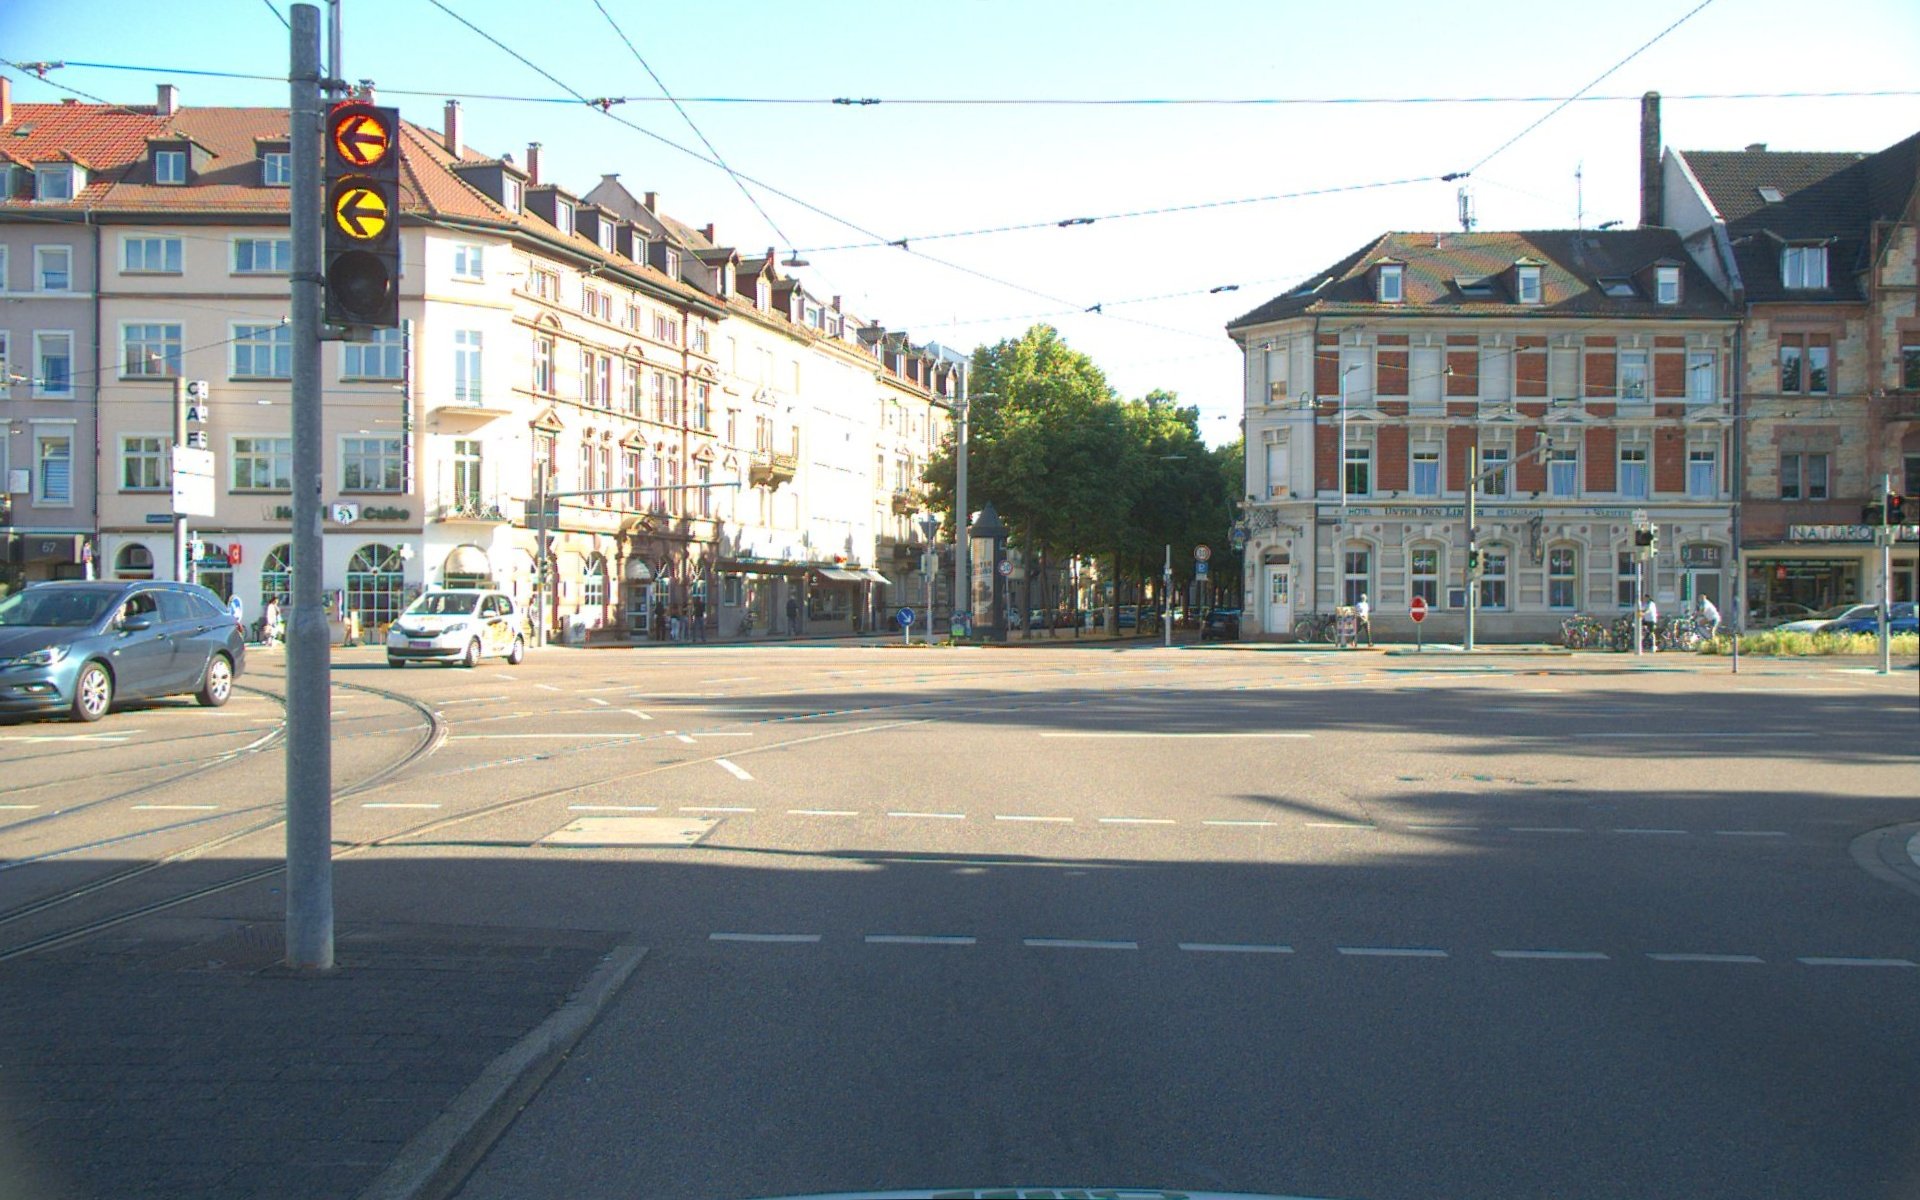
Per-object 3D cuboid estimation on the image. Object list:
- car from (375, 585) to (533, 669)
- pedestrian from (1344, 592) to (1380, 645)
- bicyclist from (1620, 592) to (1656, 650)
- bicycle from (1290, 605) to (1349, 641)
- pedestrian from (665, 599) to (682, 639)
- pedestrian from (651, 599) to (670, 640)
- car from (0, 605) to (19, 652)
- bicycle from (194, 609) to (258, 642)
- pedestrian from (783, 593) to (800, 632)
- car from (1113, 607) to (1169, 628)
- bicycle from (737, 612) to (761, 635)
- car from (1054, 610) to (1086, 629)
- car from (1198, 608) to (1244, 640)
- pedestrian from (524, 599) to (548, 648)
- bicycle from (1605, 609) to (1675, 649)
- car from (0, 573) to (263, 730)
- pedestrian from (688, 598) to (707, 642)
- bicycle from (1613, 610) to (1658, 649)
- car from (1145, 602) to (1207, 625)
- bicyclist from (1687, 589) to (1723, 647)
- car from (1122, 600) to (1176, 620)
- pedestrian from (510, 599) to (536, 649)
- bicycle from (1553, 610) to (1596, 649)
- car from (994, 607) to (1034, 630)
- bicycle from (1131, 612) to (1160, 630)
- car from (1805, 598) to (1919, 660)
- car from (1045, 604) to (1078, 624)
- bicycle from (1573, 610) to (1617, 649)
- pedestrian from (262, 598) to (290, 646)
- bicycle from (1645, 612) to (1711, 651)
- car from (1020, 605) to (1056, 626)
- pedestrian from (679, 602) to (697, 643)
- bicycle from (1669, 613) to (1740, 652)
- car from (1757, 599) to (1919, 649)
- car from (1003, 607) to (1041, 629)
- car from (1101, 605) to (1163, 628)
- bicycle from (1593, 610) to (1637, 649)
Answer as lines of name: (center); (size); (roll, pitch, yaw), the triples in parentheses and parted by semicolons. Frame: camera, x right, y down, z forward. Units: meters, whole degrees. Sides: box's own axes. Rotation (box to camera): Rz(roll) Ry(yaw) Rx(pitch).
car: (-9.675, 0.486, 31.865); (1.681, 1.523, 3.586); (0, 0, 5)
pedestrian: (13.083, 0.589, 53.860); (0.707, 1.699, 0.931); (0, 0, -26)
bicyclist: (21.003, 0.655, 51.237); (0.854, 1.795, 0.602); (0, 0, 2)
bicycle: (12.462, 0.798, 57.350); (1.919, 1.211, 0.546); (0, 0, 4)
pedestrian: (-11.896, 0.796, 68.749); (0.539, 1.670, 0.538); (0, 0, 12)
pedestrian: (-12.468, 0.810, 68.838); (0.613, 1.670, 0.538); (0, 0, 12)
car: (-32.475, 0.900, 52.140); (4.547, 1.465, 1.743); (0, -1, -4)
bicycle: (-24.889, 0.862, 56.105); (1.906, 1.086, 0.582); (0, 0, -8)
pedestrian: (-8.381, 0.604, 82.394); (0.667, 1.942, 0.633); (0, 0, 15)
car: (14.070, 1.326, 128.495); (3.910, 1.572, 1.998); (0, 0, 28)
bicycle: (-10.130, 1.122, 79.376); (0.484, 1.086, 1.771); (0, 0, 15)
car: (9.114, 1.617, 136.642); (1.951, 1.523, 4.037); (0, 0, 13)
car: (13.076, 1.162, 82.592); (1.951, 1.523, 4.037); (0, 0, 13)
pedestrian: (-14.594, 0.793, 56.977); (0.617, 1.670, 0.553); (0, 0, 13)
bicycle: (21.065, 0.898, 51.235); (1.920, 1.211, 0.602); (0, 0, 2)
car: (-9.670, 0.492, 18.356); (1.736, 1.523, 4.575); (0, 0, 3)
pedestrian: (-11.057, 0.833, 69.724); (0.567, 1.868, 0.633); (0, 0, 15)
bicycle: (21.825, 0.939, 53.495); (0.663, 1.211, 1.967); (0, 0, 0)
car: (15.239, 0.954, 116.681); (3.913, 1.572, 1.996); (0, 0, 30)
bicyclist: (23.380, 0.562, 51.919); (0.884, 1.795, 0.602); (0, 0, 7)
car: (15.417, 0.789, 134.678); (3.910, 1.572, 1.998); (0, 0, 28)
pedestrian: (-14.738, 0.819, 55.762); (0.661, 1.670, 0.579); (0, 0, 13)
bicycle: (19.836, 0.938, 53.446); (0.663, 1.211, 1.967); (0, 0, 0)
car: (3.705, 1.235, 112.906); (1.951, 1.523, 4.037); (0, 0, 13)
bicycle: (11.166, 1.269, 99.396); (0.577, 1.086, 1.924); (0, 0, -37)
car: (25.919, 0.787, 45.946); (3.906, 1.697, 1.954); (0, 0, -2)
car: (8.139, 1.076, 131.866); (1.951, 1.523, 4.037); (0, 0, 13)
bicycle: (20.524, 0.950, 53.483); (0.663, 1.211, 1.967); (0, 0, 0)
pedestrian: (-22.287, 0.717, 53.880); (0.645, 1.551, 0.694); (0, 0, -5)
bicycle: (23.047, 0.996, 53.116); (1.926, 1.211, 0.677); (0, 0, -13)
car: (5.796, 1.124, 122.660); (1.951, 1.523, 4.037); (0, 0, 13)
pedestrian: (-11.298, 0.927, 68.752); (0.539, 1.670, 0.633); (0, 0, 12)
bicycle: (23.367, 1.017, 51.922); (1.919, 1.211, 0.602); (0, 0, 6)
car: (25.970, 0.698, 48.942); (3.906, 1.437, 1.845); (0, 0, -2)
car: (4.451, 1.267, 117.404); (1.951, 1.523, 4.037); (0, 0, 13)
car: (12.040, 1.113, 115.837); (3.910, 1.572, 1.998); (0, 0, 28)
bicycle: (21.163, 0.932, 53.493); (0.663, 1.211, 1.967); (0, 0, 0)
